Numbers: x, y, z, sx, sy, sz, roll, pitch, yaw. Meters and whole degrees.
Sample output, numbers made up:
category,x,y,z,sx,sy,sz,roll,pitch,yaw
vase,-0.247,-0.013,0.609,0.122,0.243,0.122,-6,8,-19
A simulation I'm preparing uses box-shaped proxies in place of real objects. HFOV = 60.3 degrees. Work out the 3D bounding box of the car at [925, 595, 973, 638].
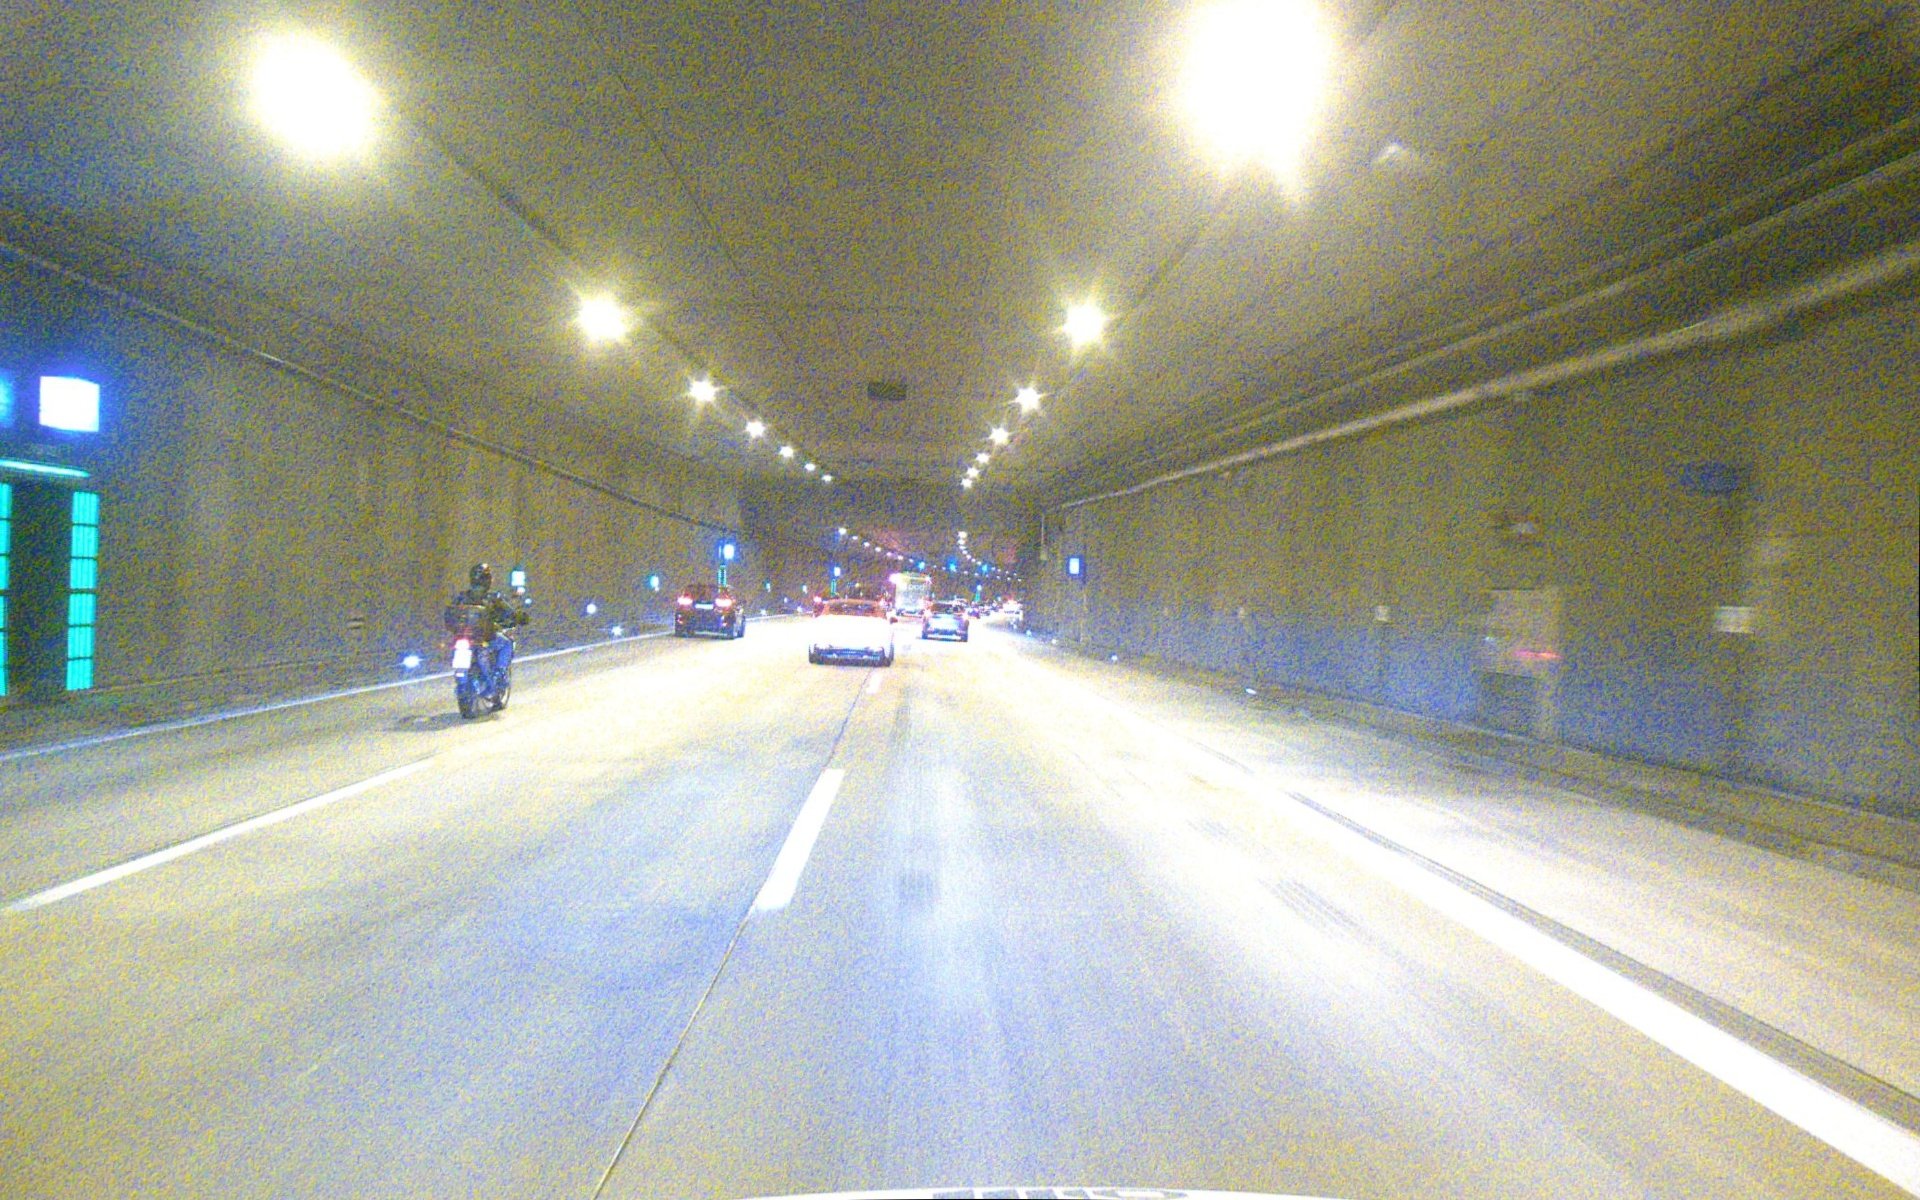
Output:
category,x,y,z,sx,sy,sz,roll,pitch,yaw
car,-0.434,0.611,63.817,1.802,1.630,3.999,0,0,-1

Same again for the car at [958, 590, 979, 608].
category,x,y,z,sx,sy,sz,roll,pitch,yaw
car,0.748,-0.106,146.146,1.806,1.595,4.000,1,0,1

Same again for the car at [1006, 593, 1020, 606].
category,x,y,z,sx,sy,sz,roll,pitch,yaw
car,6.888,-0.053,215.244,1.806,1.578,4.000,1,0,1

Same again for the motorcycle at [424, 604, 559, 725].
category,x,y,z,sx,sy,sz,roll,pitch,yaw
motorcycle,-5.433,0.711,19.366,0.828,1.267,2.604,-1,1,0

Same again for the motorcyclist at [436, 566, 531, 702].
category,x,y,z,sx,sy,sz,roll,pitch,yaw
motorcyclist,-5.442,0.382,18.929,0.822,1.503,0.821,-1,0,-1

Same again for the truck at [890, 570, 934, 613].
category,x,y,z,sx,sy,sz,roll,pitch,yaw
truck,-3.639,-0.711,128.436,3.019,3.167,10.030,0,1,1

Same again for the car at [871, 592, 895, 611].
category,x,y,z,sx,sy,sz,roll,pitch,yaw
car,-6.696,0.100,144.539,1.805,1.631,4.000,1,0,1

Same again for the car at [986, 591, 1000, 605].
category,x,y,z,sx,sy,sz,roll,pitch,yaw
car,4.358,-0.294,219.319,1.796,1.720,4.000,1,0,0

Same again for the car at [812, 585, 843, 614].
category,x,y,z,sx,sy,sz,roll,pitch,yaw
car,-7.996,-0.024,100.010,1.764,1.713,3.998,-1,0,-3

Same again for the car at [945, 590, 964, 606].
category,x,y,z,sx,sy,sz,roll,pitch,yaw
car,-0.644,-0.190,188.218,1.953,1.785,3.998,0,0,-2

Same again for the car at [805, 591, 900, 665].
category,x,y,z,sx,sy,sz,roll,pitch,yaw
car,-2.338,0.584,36.900,1.953,1.509,3.999,1,0,-2

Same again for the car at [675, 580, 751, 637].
category,x,y,z,sx,sy,sz,roll,pitch,yaw
car,-7.328,0.245,49.328,1.749,1.626,3.800,0,0,-1

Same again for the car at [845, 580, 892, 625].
category,x,y,z,sx,sy,sz,roll,pitch,yaw
car,-4.236,0.104,76.968,1.953,2.006,3.999,-1,0,-1

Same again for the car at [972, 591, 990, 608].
category,x,y,z,sx,sy,sz,roll,pitch,yaw
car,2.216,-0.038,175.289,1.820,1.695,4.000,1,0,0
